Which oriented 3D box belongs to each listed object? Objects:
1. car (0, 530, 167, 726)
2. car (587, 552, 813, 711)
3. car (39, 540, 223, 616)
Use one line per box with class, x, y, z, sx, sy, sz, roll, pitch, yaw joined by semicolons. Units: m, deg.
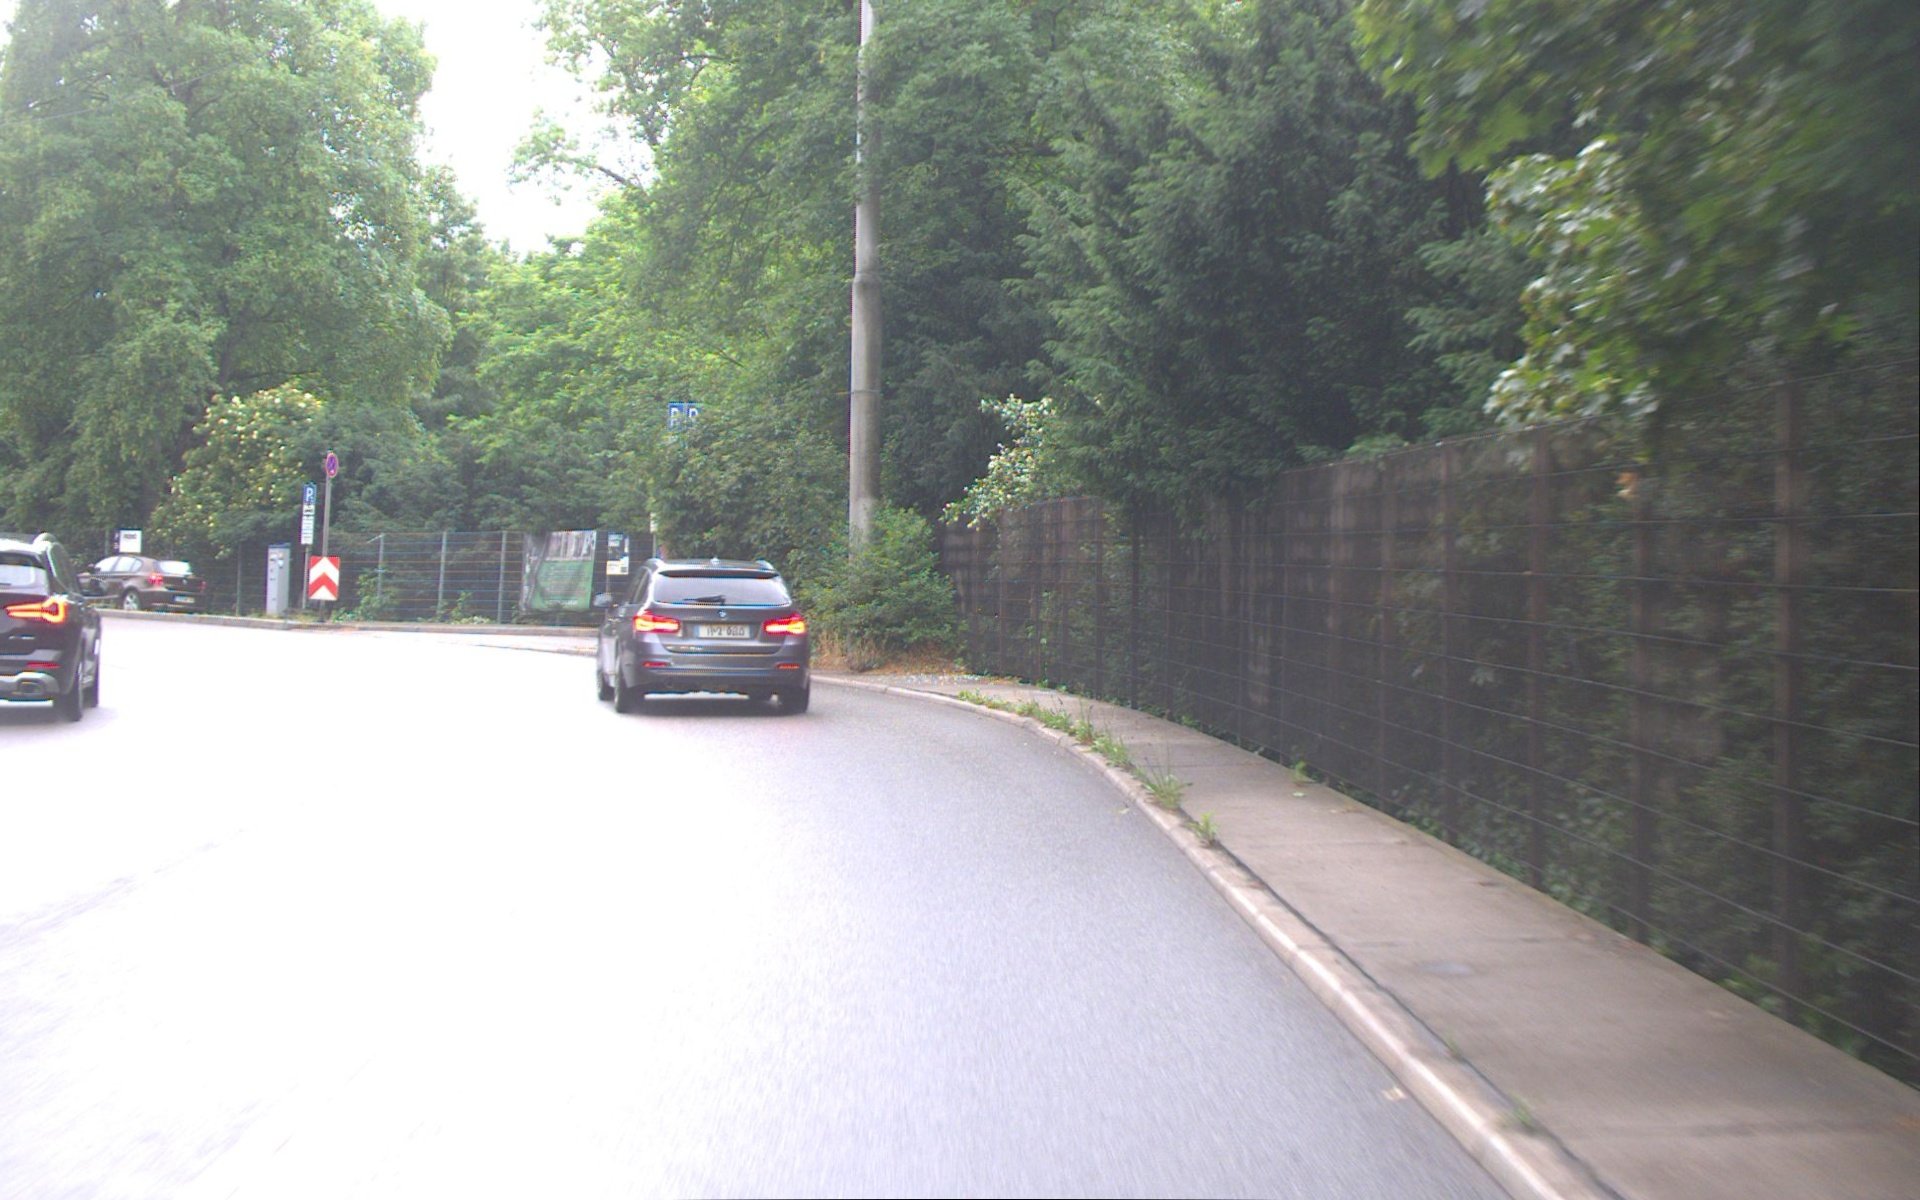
car;-8.448;0.184;30.836;1.757;1.580;4.413;3;1;-2
car;-2.588;0.258;33.318;1.757;1.427;4.414;0;1;-10
car;-18.343;-0.487;75.975;4.368;1.422;1.688;3;-2;42
